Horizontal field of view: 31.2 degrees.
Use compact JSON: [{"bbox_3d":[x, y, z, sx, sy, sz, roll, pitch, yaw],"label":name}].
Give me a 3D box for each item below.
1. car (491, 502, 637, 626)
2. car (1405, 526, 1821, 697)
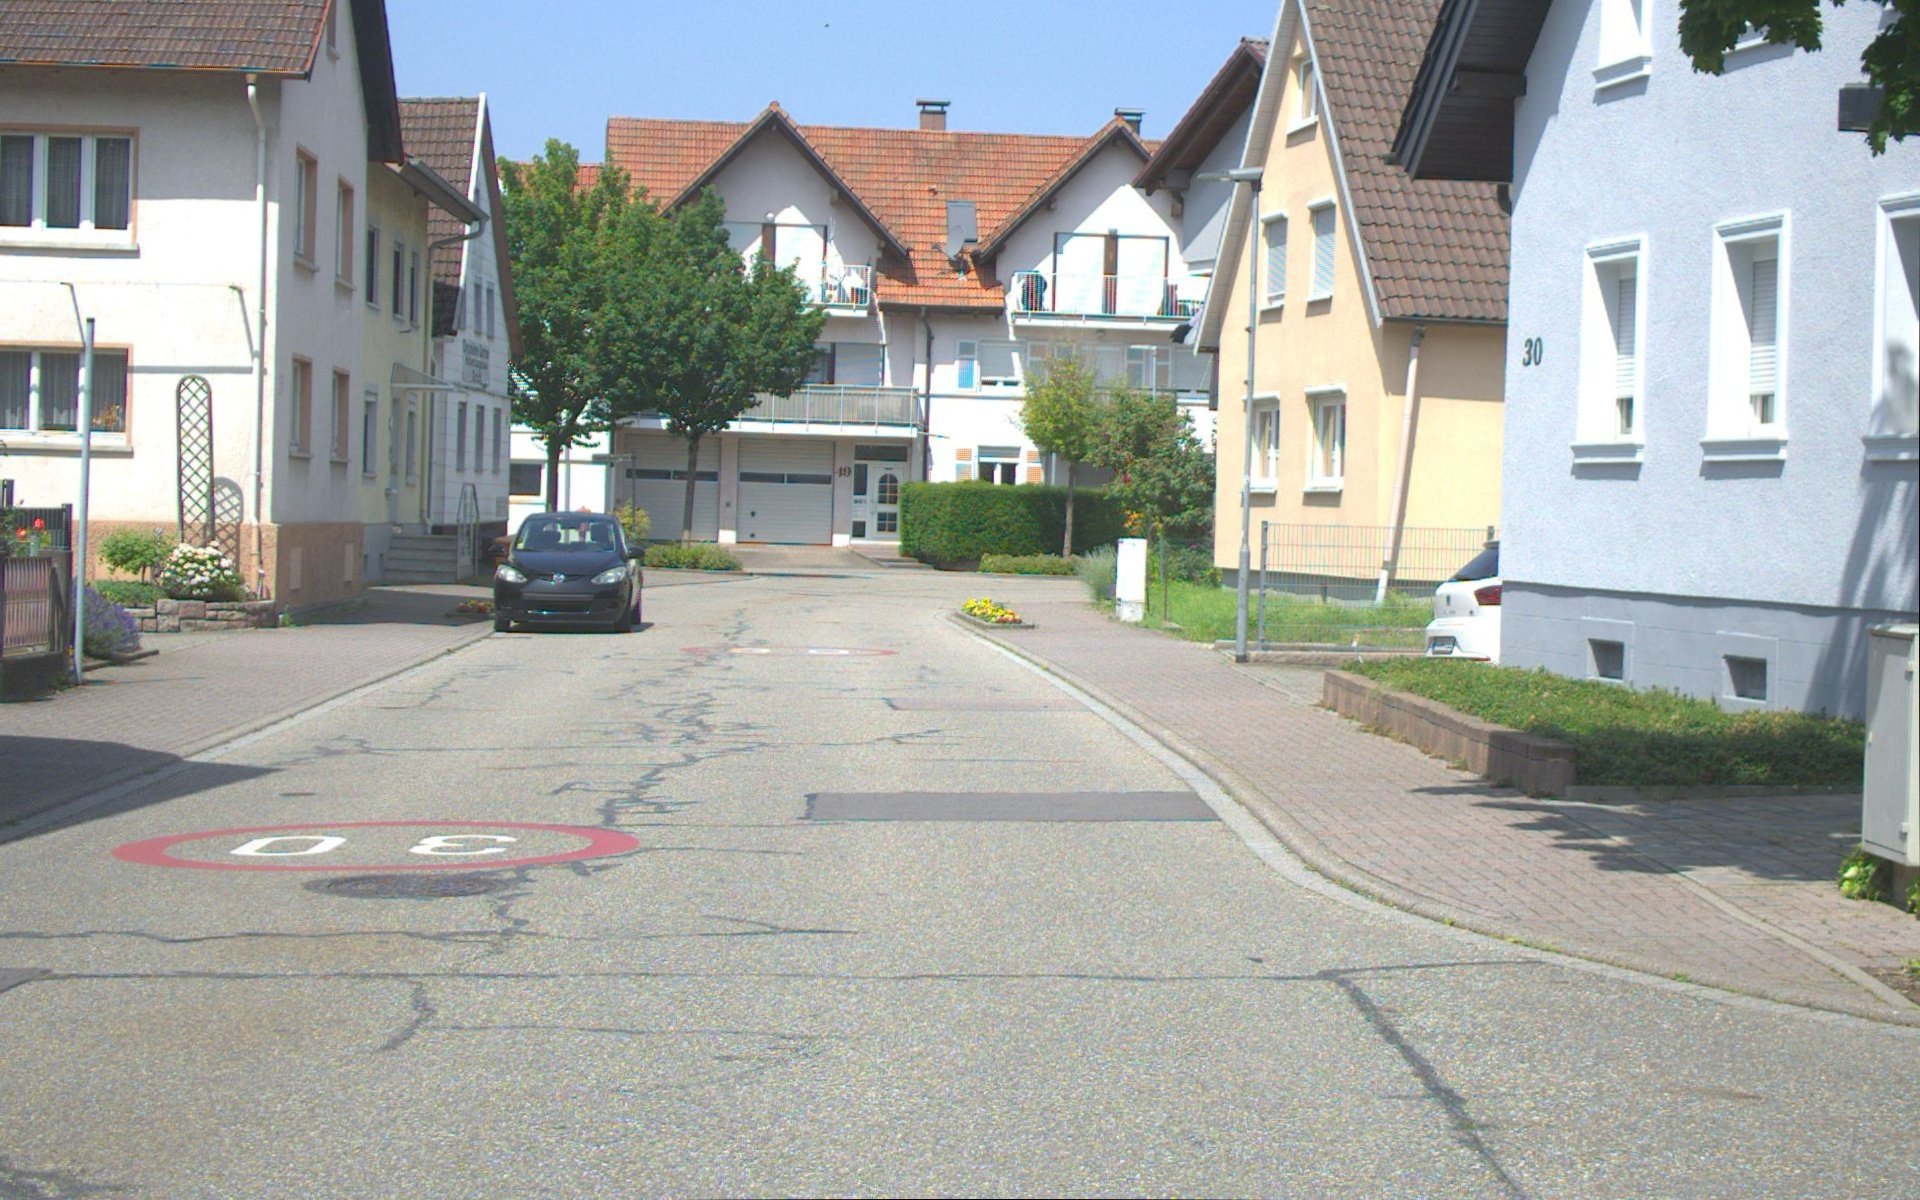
[{"bbox_3d":[-4.950,-0.492,43.369,1.626,1.481,4.001,0,2,-4],"label":"car"},{"bbox_3d":[5.351,0.088,28.326,3.042,1.341,1.423,1,1,-9],"label":"car"}]
